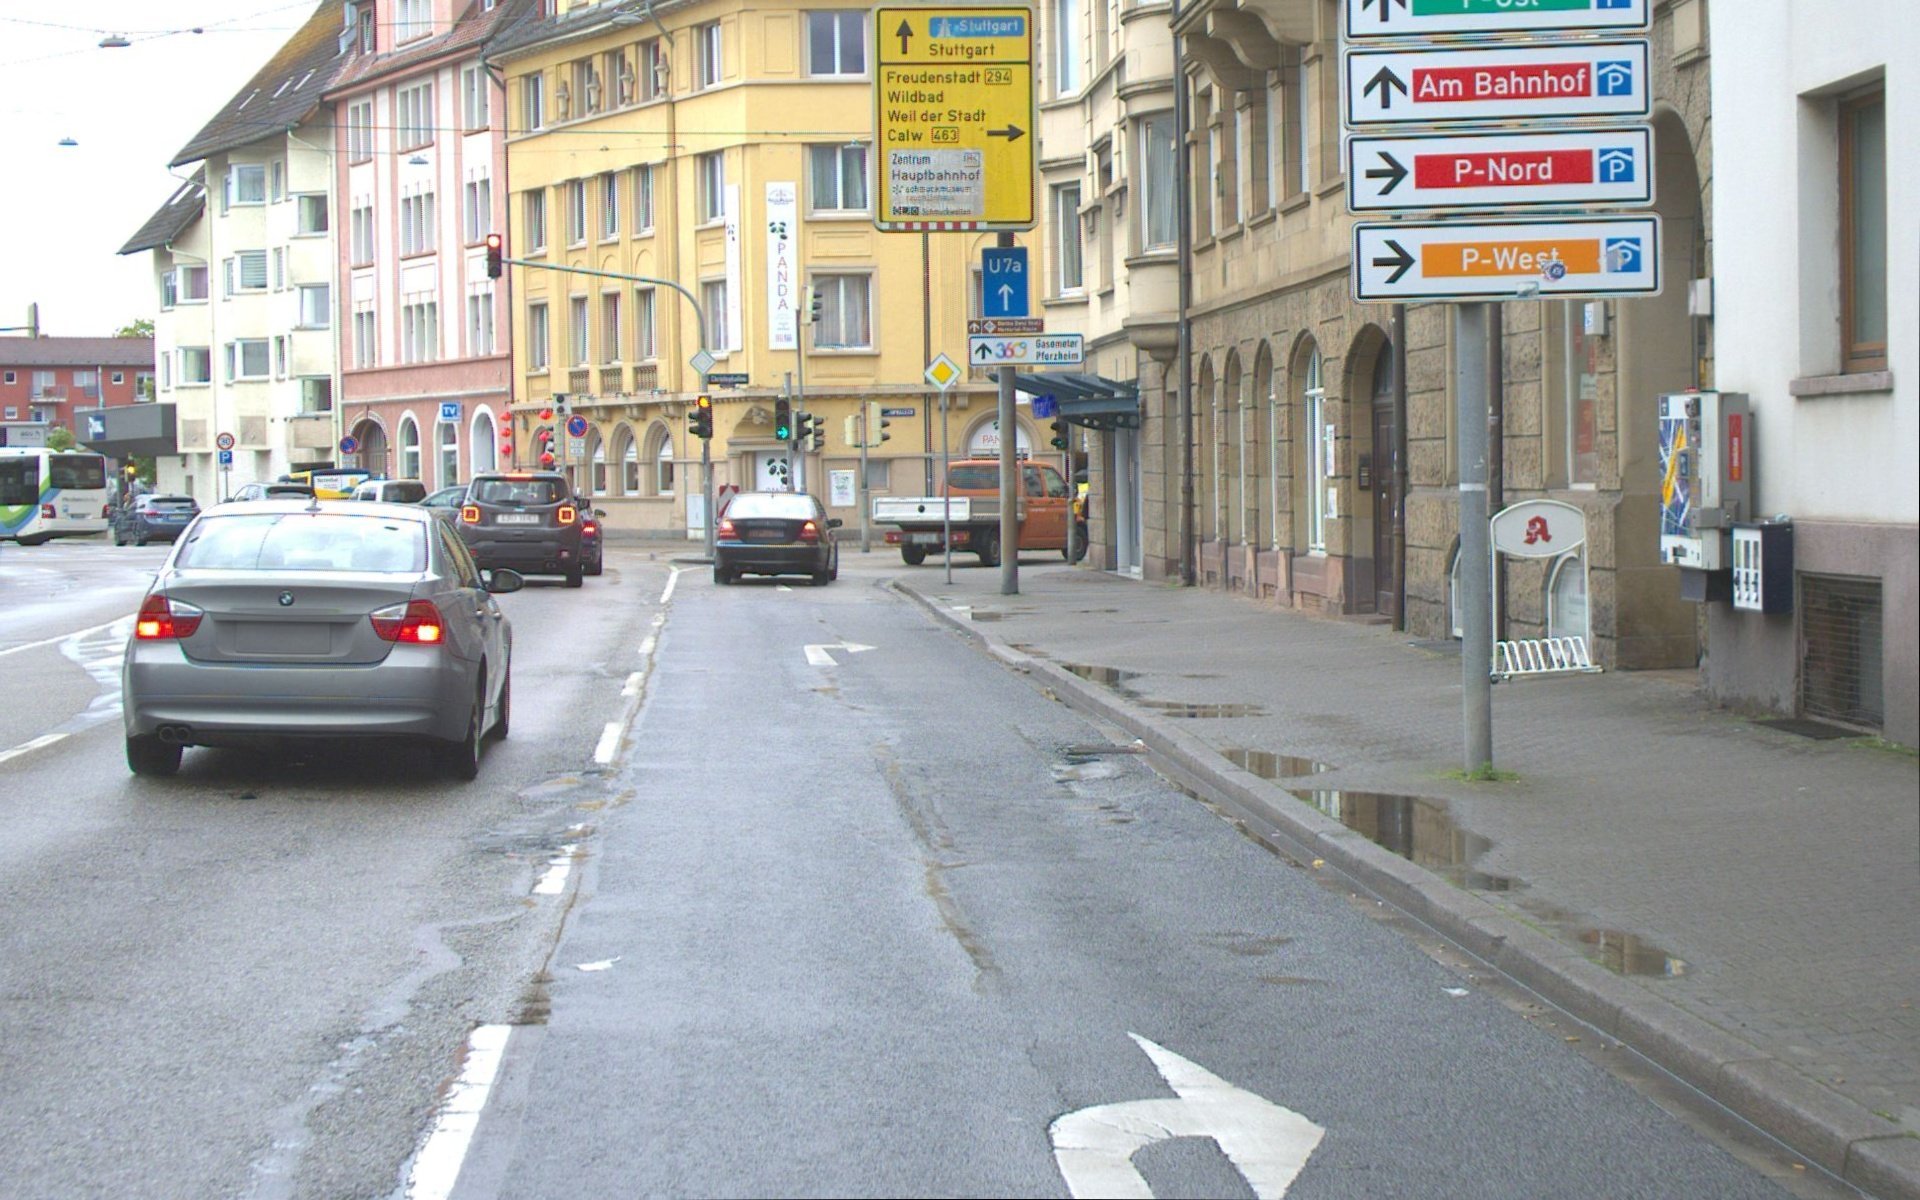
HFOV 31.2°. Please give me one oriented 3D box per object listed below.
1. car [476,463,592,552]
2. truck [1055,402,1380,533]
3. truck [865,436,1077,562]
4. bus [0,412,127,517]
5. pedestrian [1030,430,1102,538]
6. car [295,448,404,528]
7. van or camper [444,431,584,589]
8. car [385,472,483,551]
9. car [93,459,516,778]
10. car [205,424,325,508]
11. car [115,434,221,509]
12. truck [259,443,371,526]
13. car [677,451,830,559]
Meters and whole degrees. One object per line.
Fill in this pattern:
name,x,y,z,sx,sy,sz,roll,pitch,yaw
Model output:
car,-6.995,-1.548,56.411,1.802,1.401,4.685,0,2,-7
truck,5.795,-3.004,77.798,7.090,2.841,2.083,-1,2,-4
truck,0.266,-1.942,64.200,2.227,2.241,5.057,1,3,22
bus,-29.980,-4.150,105.891,9.131,3.094,2.913,1,4,34
pedestrian,1.890,-2.063,61.152,1.058,1.897,1.024,0,3,16
car,-17.395,-3.198,97.785,1.762,2.172,4.001,1,2,-30
van or camper,-6.427,-1.331,49.604,1.854,2.139,4.144,-2,3,-7
car,-12.559,-2.140,82.327,1.993,1.809,4.001,-1,2,-4
car,-3.382,0.002,18.459,1.799,1.459,4.372,1,2,-5
car,-17.268,-3.330,85.307,1.993,2.006,4.001,-2,3,-25
car,-22.058,-3.591,95.657,1.993,2.006,4.001,-2,3,-26
truck,-19.406,-3.480,103.298,2.026,2.381,4.237,0,2,-29
car,-3.151,-1.447,51.752,1.799,1.557,4.001,-1,2,-11
